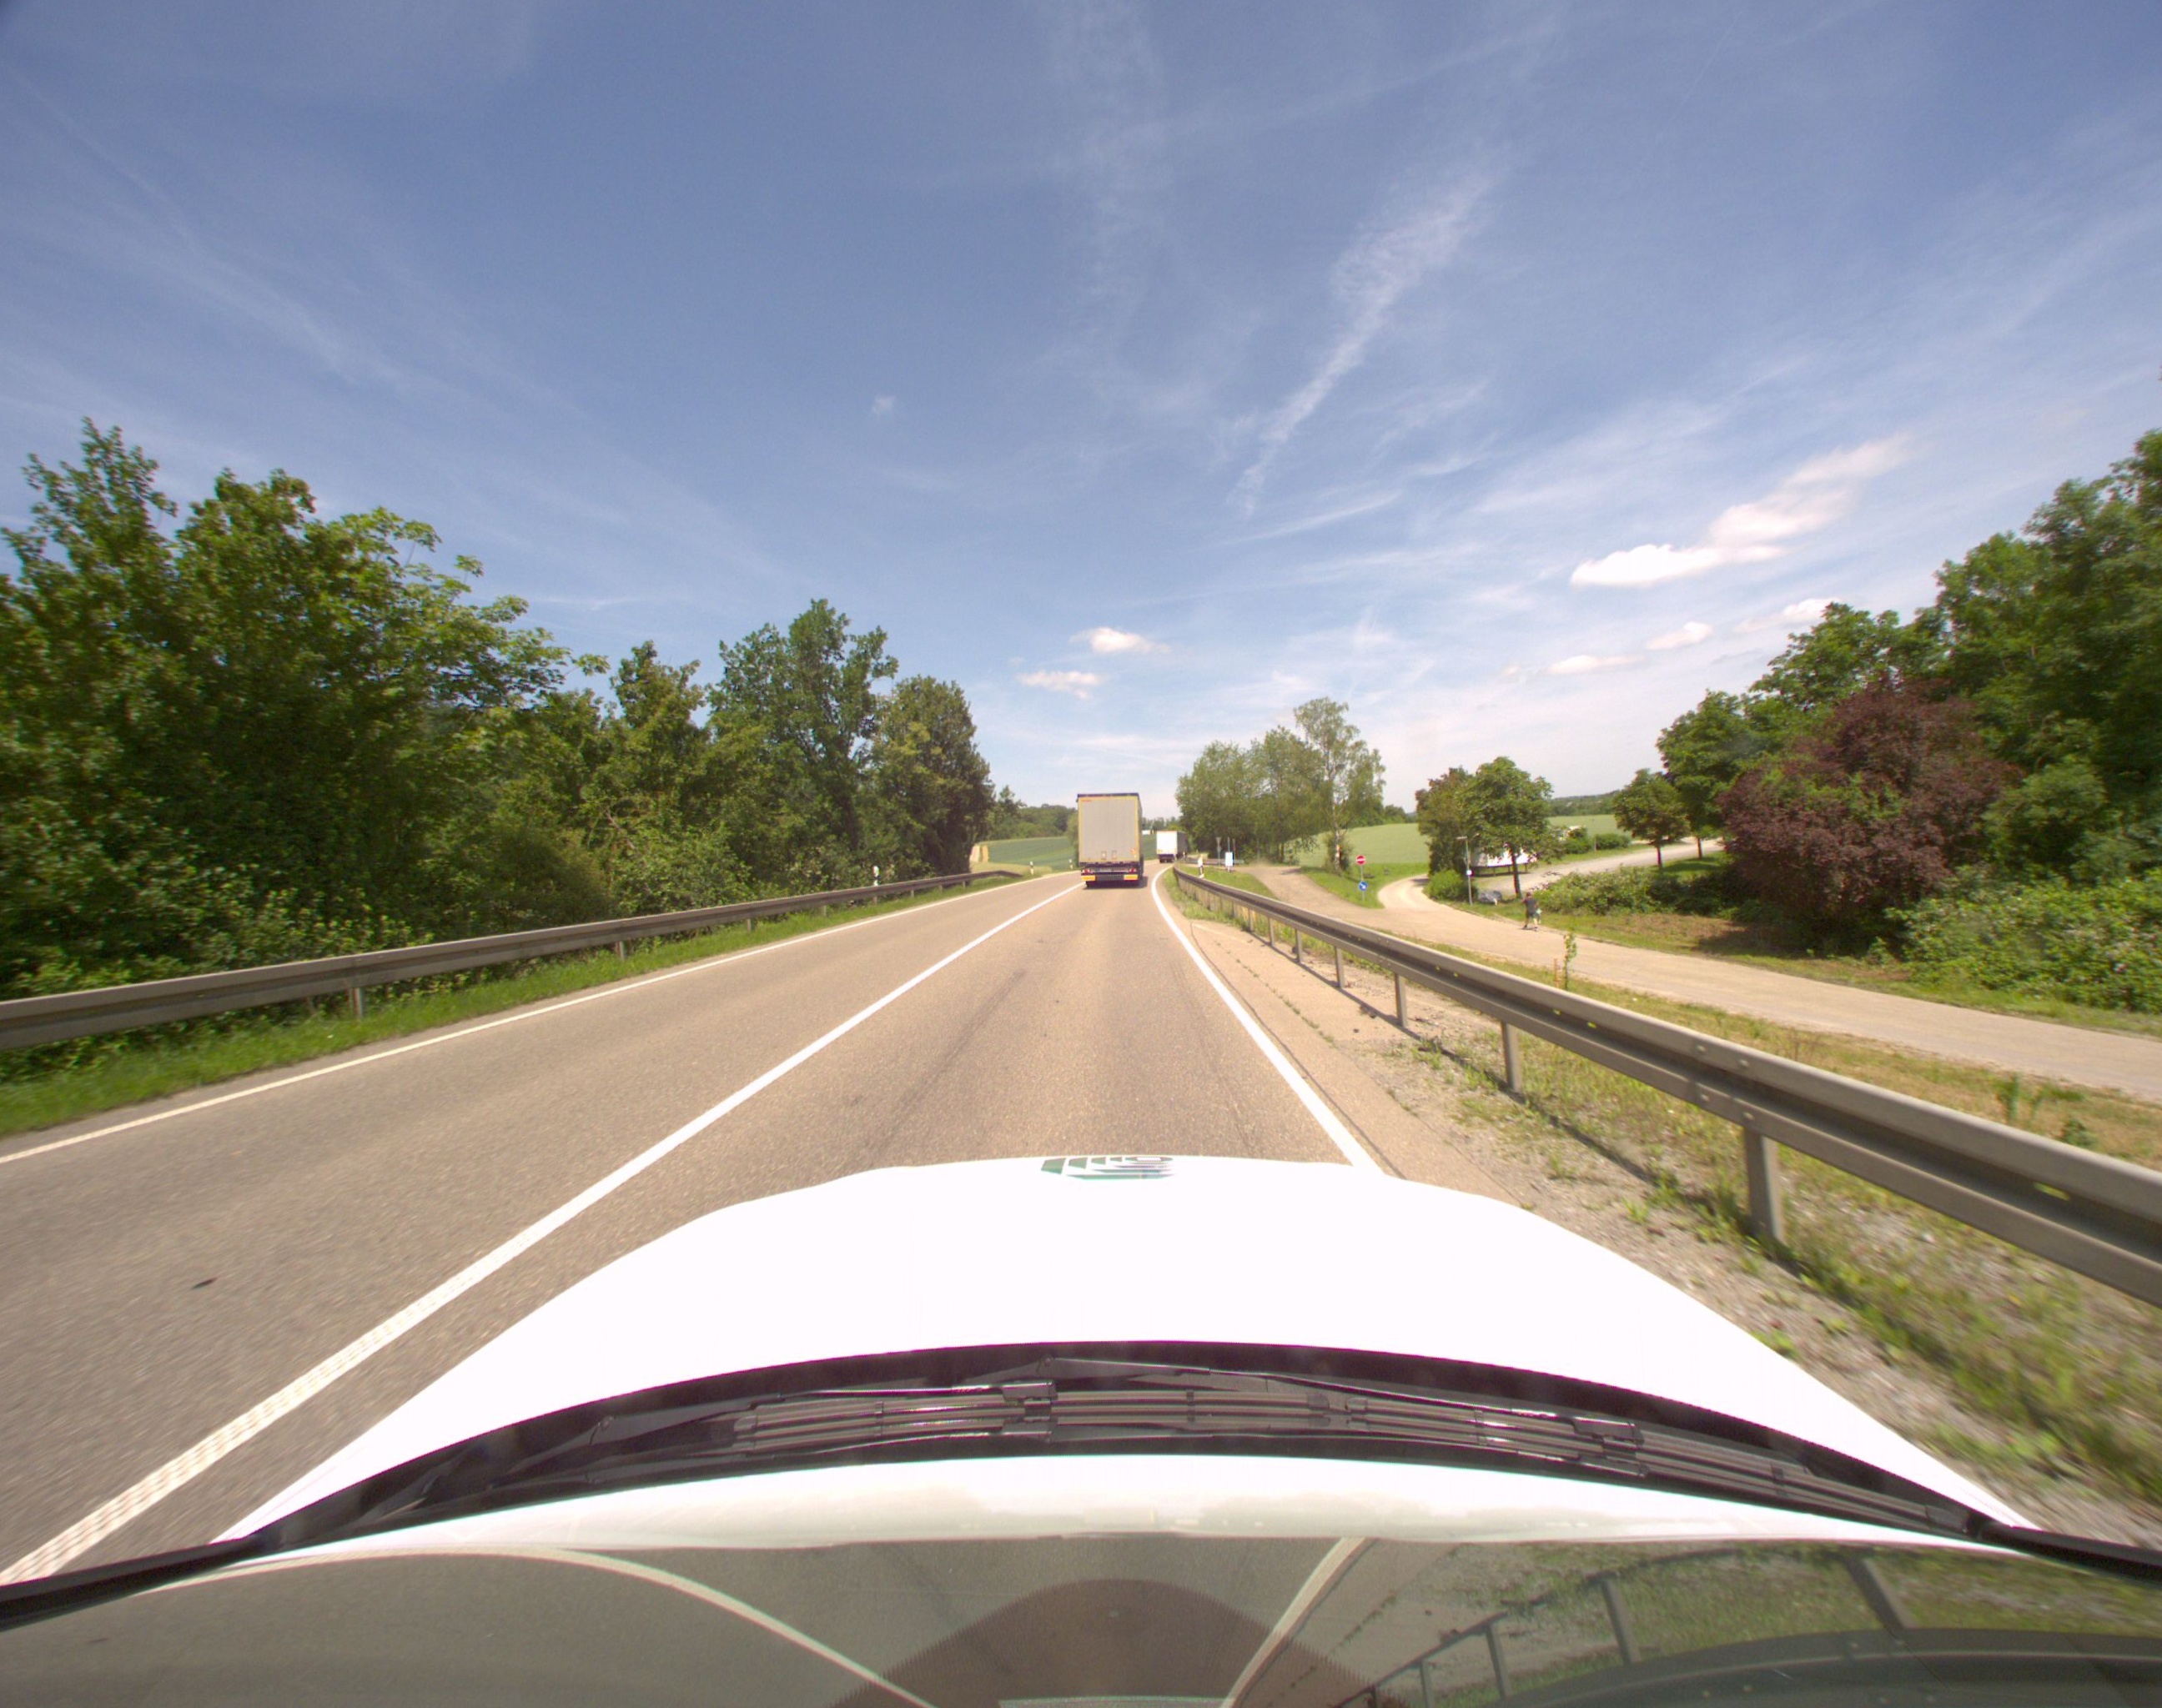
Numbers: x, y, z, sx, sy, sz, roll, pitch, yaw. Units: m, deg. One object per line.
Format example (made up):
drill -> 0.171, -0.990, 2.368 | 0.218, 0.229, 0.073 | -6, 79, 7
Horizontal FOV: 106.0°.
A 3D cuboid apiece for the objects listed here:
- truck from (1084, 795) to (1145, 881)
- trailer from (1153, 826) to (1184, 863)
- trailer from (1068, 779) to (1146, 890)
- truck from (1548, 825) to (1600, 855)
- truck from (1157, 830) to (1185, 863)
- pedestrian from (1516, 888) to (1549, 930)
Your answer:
truck -> 2.036, -0.851, 46.882 | 3.104, 4.494, 6.819 | -1, 0, 4
trailer -> 11.605, -1.109, 106.746 | 3.346, 4.317, 13.896 | -2, -1, 9
trailer -> 1.580, -0.825, 40.544 | 3.104, 4.499, 13.901 | -1, 0, 4
truck -> 66.067, -1.928, 109.090 | 7.168, 3.536, 3.119 | -4, -1, -34
truck -> 12.493, -0.998, 112.586 | 3.346, 4.317, 6.756 | -2, -1, 8
pedestrian -> 20.823, 2.513, 37.571 | 0.881, 1.811, 0.960 | -4, 0, 2
